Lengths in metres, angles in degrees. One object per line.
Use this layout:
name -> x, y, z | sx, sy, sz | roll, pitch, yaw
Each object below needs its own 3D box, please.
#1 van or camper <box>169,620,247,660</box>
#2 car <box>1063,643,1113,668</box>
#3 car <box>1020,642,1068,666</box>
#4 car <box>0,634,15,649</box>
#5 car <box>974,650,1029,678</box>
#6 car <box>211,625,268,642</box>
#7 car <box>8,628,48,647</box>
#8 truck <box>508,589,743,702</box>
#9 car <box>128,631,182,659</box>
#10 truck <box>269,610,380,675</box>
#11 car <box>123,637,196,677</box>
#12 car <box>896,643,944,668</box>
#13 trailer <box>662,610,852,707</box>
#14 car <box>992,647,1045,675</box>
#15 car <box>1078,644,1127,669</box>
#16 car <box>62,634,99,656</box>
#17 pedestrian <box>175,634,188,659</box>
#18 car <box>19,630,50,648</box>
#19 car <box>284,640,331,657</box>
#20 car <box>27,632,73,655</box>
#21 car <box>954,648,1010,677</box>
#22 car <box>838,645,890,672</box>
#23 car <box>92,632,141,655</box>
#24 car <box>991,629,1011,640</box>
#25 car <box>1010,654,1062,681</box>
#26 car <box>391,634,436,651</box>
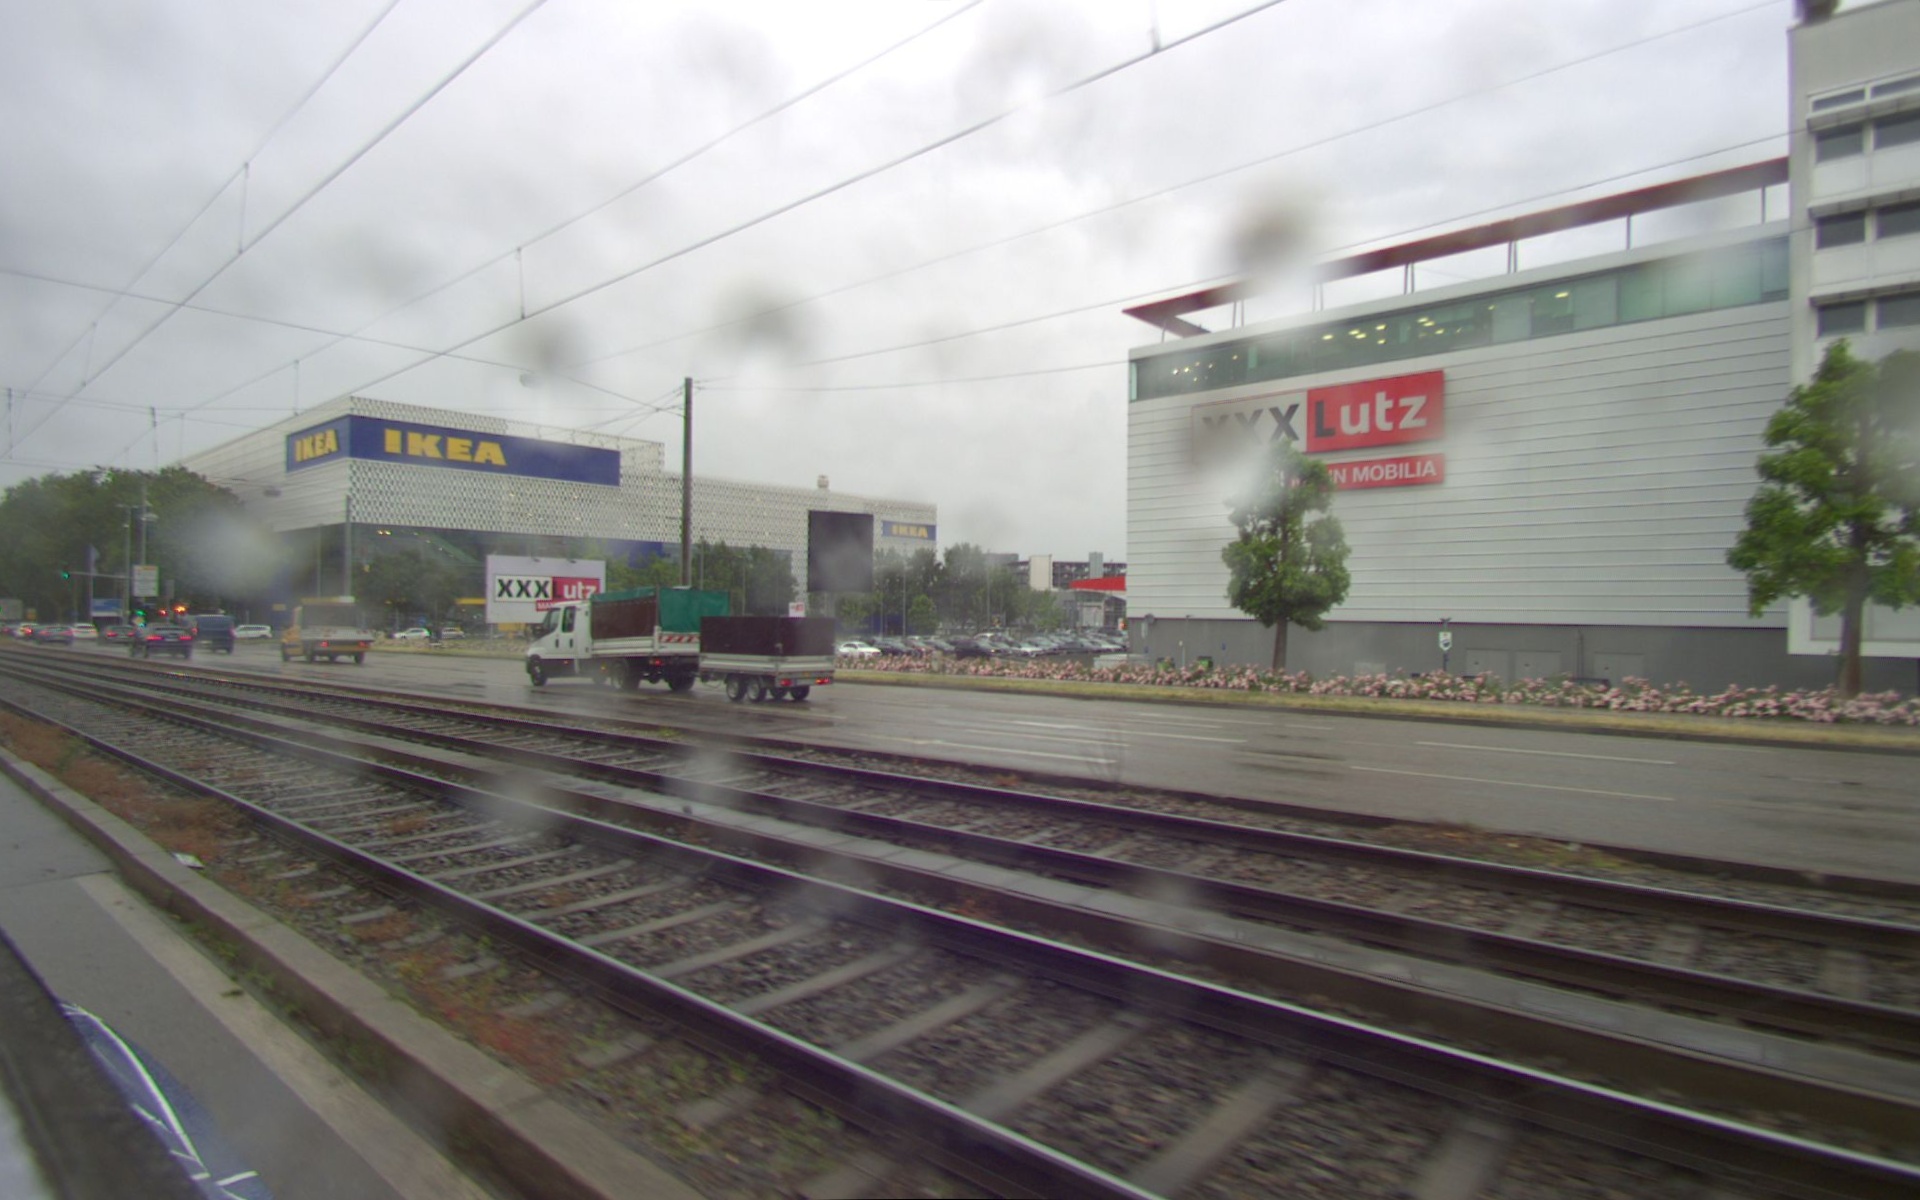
van or camper -> -40.440, 2.095, 54.367 | 5.685, 2.029, 2.280 | -1, -2, 42
car -> 11.396, 4.935, 90.457 | 3.994, 2.029, 1.975 | -1, 0, 38
car -> 7.762, 4.979, 93.222 | 3.994, 2.029, 1.975 | -1, 0, 38
car -> -100.348, 4.346, 105.718 | 5.082, 1.434, 1.902 | -3, -6, 42
car -> 3.327, 5.115, 81.519 | 3.995, 2.029, 1.974 | -1, 0, 39
car -> -73.433, 3.385, 103.164 | 1.819, 1.552, 4.401 | -3, -1, 43
car -> -78.104, 3.143, 84.779 | 4.670, 1.468, 1.972 | -1, -3, 42
truck -> -8.625, 1.102, 25.559 | 7.218, 2.476, 2.409 | -1, -3, 42
car -> -49.731, 2.757, 62.493 | 4.907, 1.630, 1.838 | -1, -4, 43
truck -> -26.188, 1.711, 41.614 | 6.065, 2.480, 2.203 | -1, -3, 42
car -> -36.157, 2.531, 45.650 | 4.534, 1.635, 1.799 | -1, -1, 41
car -> -3.558, 4.872, 89.705 | 3.995, 2.029, 1.974 | -1, 0, 39
trailer -> -4.414, 1.173, 21.753 | 3.835, 1.806, 2.097 | -1, 1, 42
car -> 4.845, 5.013, 83.737 | 3.995, 2.029, 1.974 | -1, 0, 39
car -> 12.981, 5.107, 92.326 | 3.994, 2.029, 1.975 | -1, 0, 38
car -> -79.303, 4.000, 91.210 | 4.692, 1.848, 1.972 | -1, -1, 42
pedestrian -> -74.875, 4.445, 97.347 | 0.906, 2.261, 0.992 | -2, 2, -36
car -> -88.478, 3.739, 96.746 | 4.327, 1.585, 1.853 | -3, -1, 43
car -> -71.247, 5.292, 110.528 | 1.760, 1.630, 3.962 | -1, 1, 43
car -> -64.086, 3.049, 71.268 | 4.687, 1.505, 1.839 | -1, -2, 41
car -> 1.735, 4.853, 79.102 | 3.995, 2.029, 1.974 | -1, 0, 39
car -> -7.992, 4.839, 84.292 | 4.086, 2.029, 1.974 | -1, 1, 39
car -> -59.747, 3.044, 71.657 | 4.552, 1.528, 1.943 | -1, -3, 41
car -> 8.221, 6.821, 202.868 | 2.000, 2.029, 3.944 | -1, 1, 42
car -> 6.453, 5.734, 86.097 | 3.995, 2.029, 1.974 | -1, 0, 39
car -> -62.236, 4.810, 115.287 | 1.999, 1.615, 4.053 | -1, 1, 42
